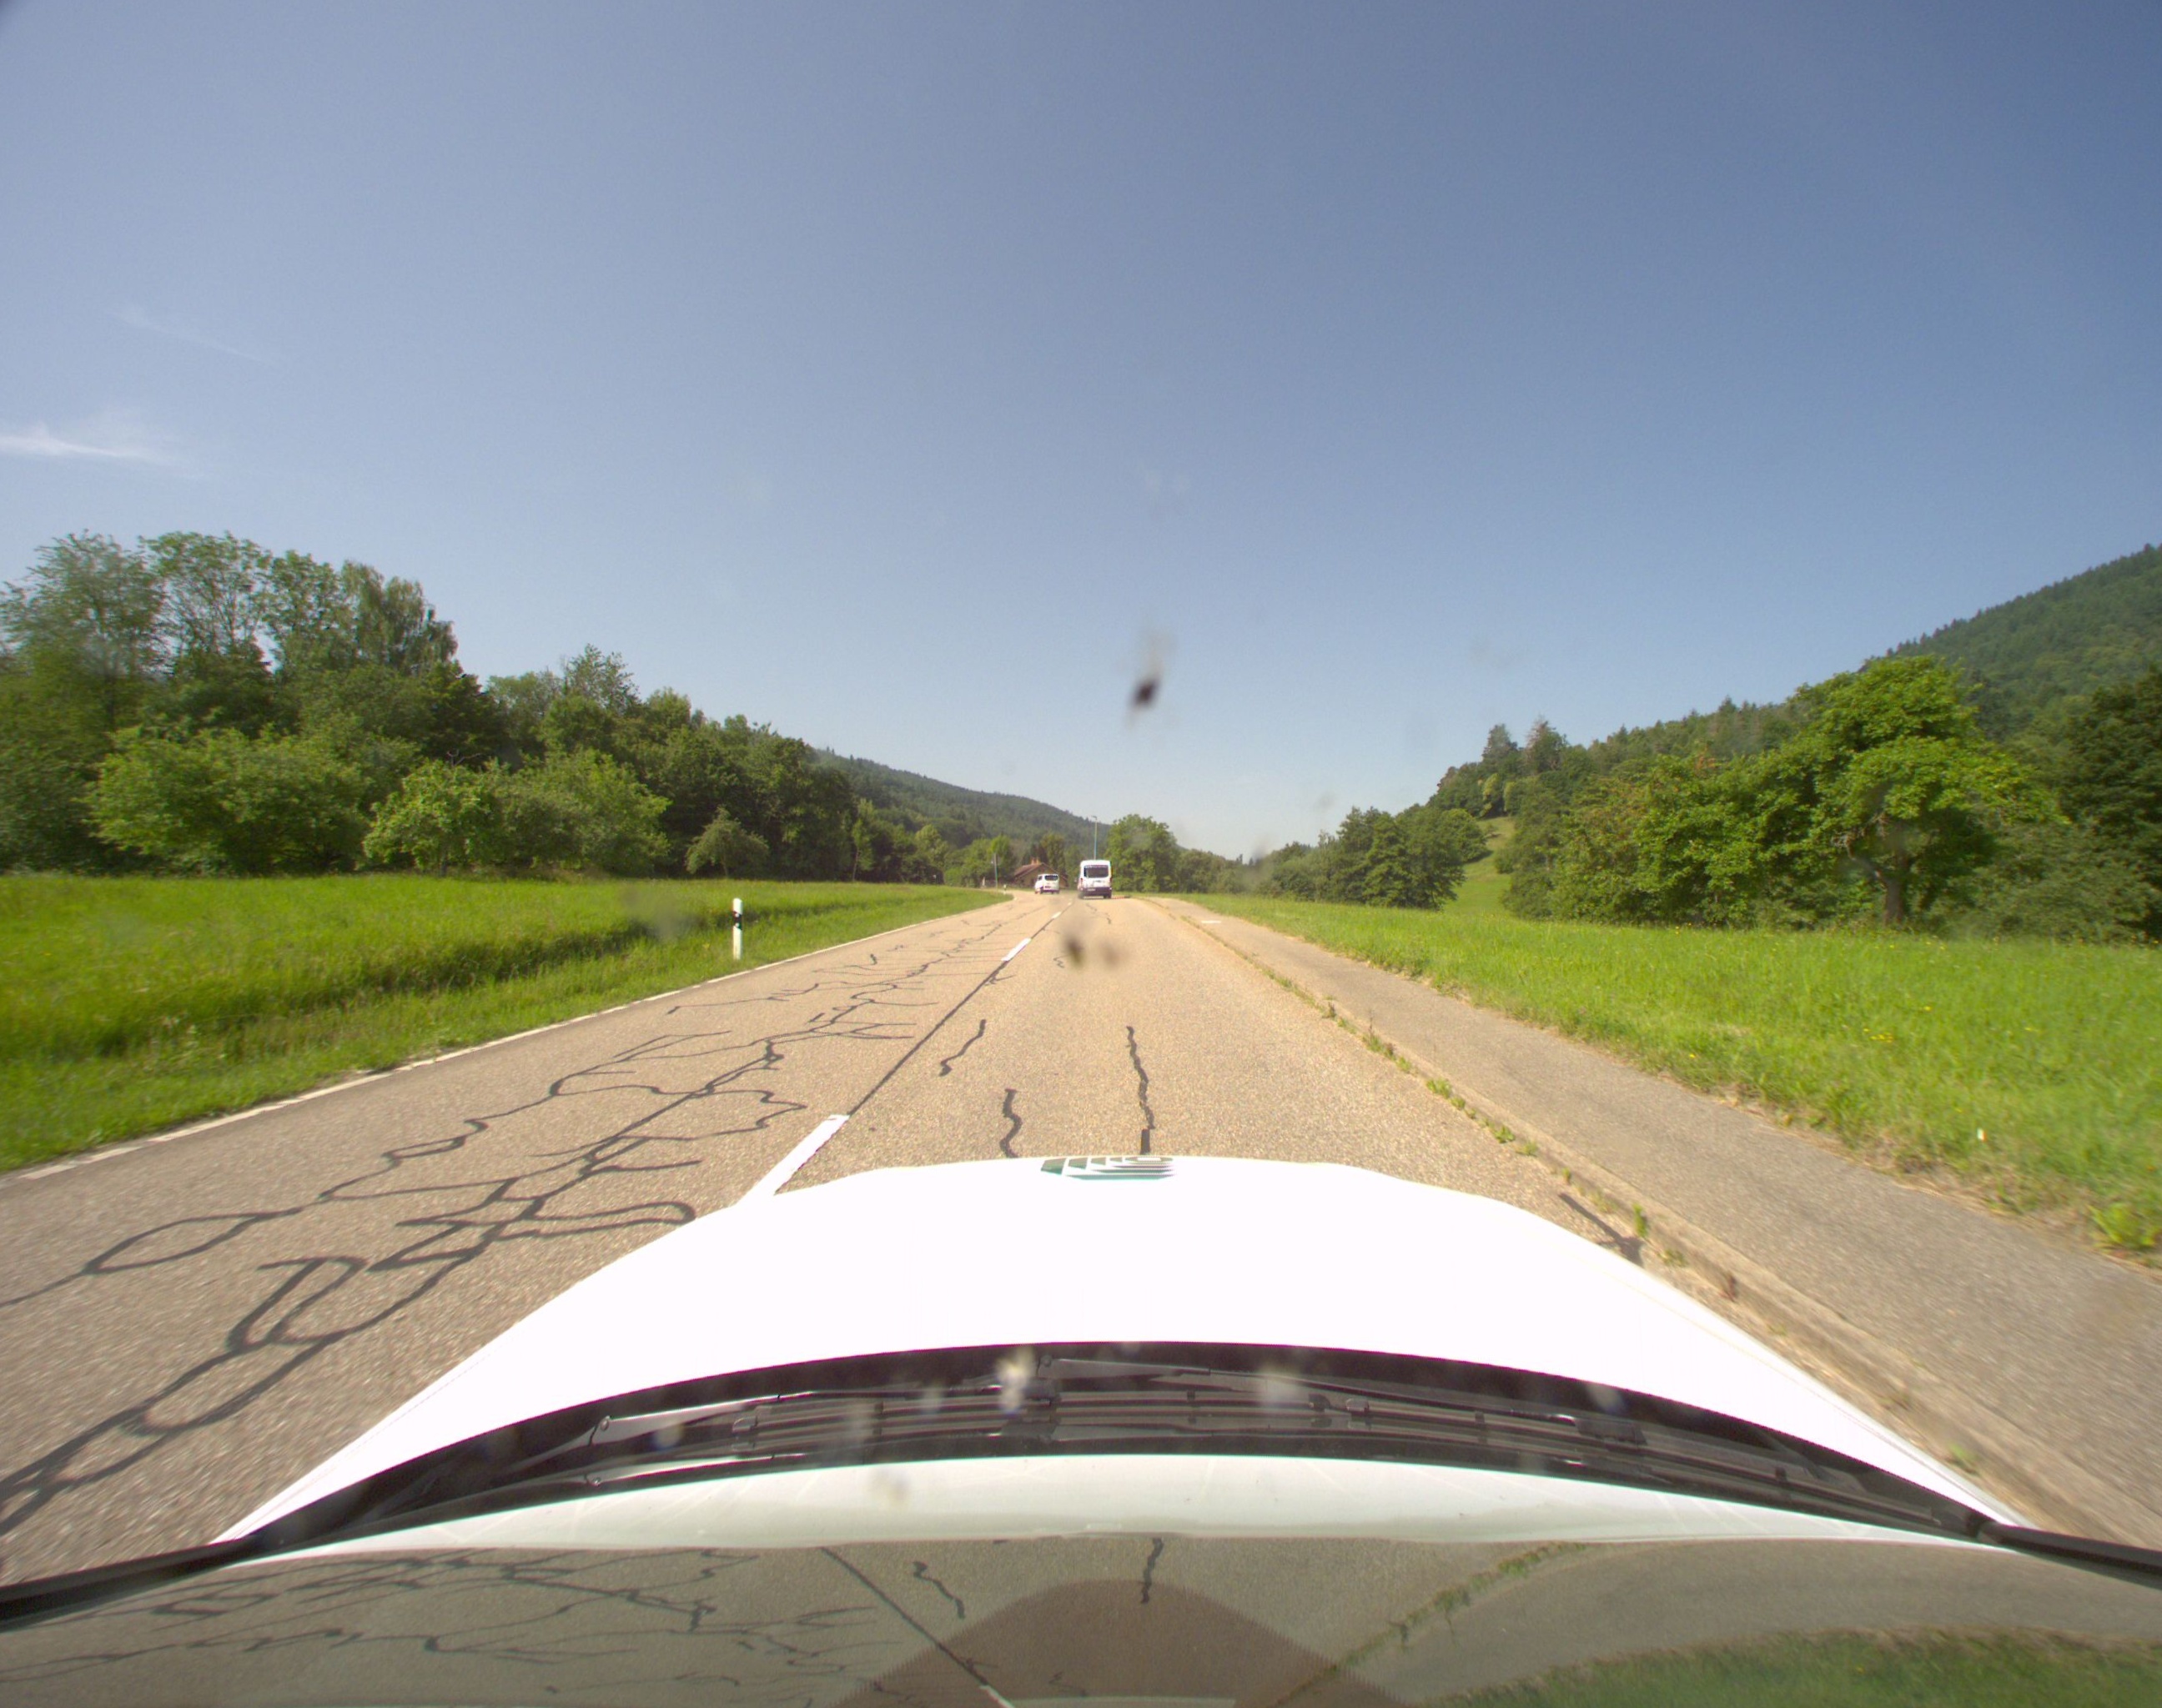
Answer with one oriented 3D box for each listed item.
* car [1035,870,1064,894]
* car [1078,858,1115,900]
[{"bbox_3d":[-3.296,2.875,83.772,2.223,2.287,4.966,-3,-2,-10],"label":"car"},{"bbox_3d":[1.044,1.640,53.386,2.214,2.526,4.985,-3,-2,1],"label":"car"}]
